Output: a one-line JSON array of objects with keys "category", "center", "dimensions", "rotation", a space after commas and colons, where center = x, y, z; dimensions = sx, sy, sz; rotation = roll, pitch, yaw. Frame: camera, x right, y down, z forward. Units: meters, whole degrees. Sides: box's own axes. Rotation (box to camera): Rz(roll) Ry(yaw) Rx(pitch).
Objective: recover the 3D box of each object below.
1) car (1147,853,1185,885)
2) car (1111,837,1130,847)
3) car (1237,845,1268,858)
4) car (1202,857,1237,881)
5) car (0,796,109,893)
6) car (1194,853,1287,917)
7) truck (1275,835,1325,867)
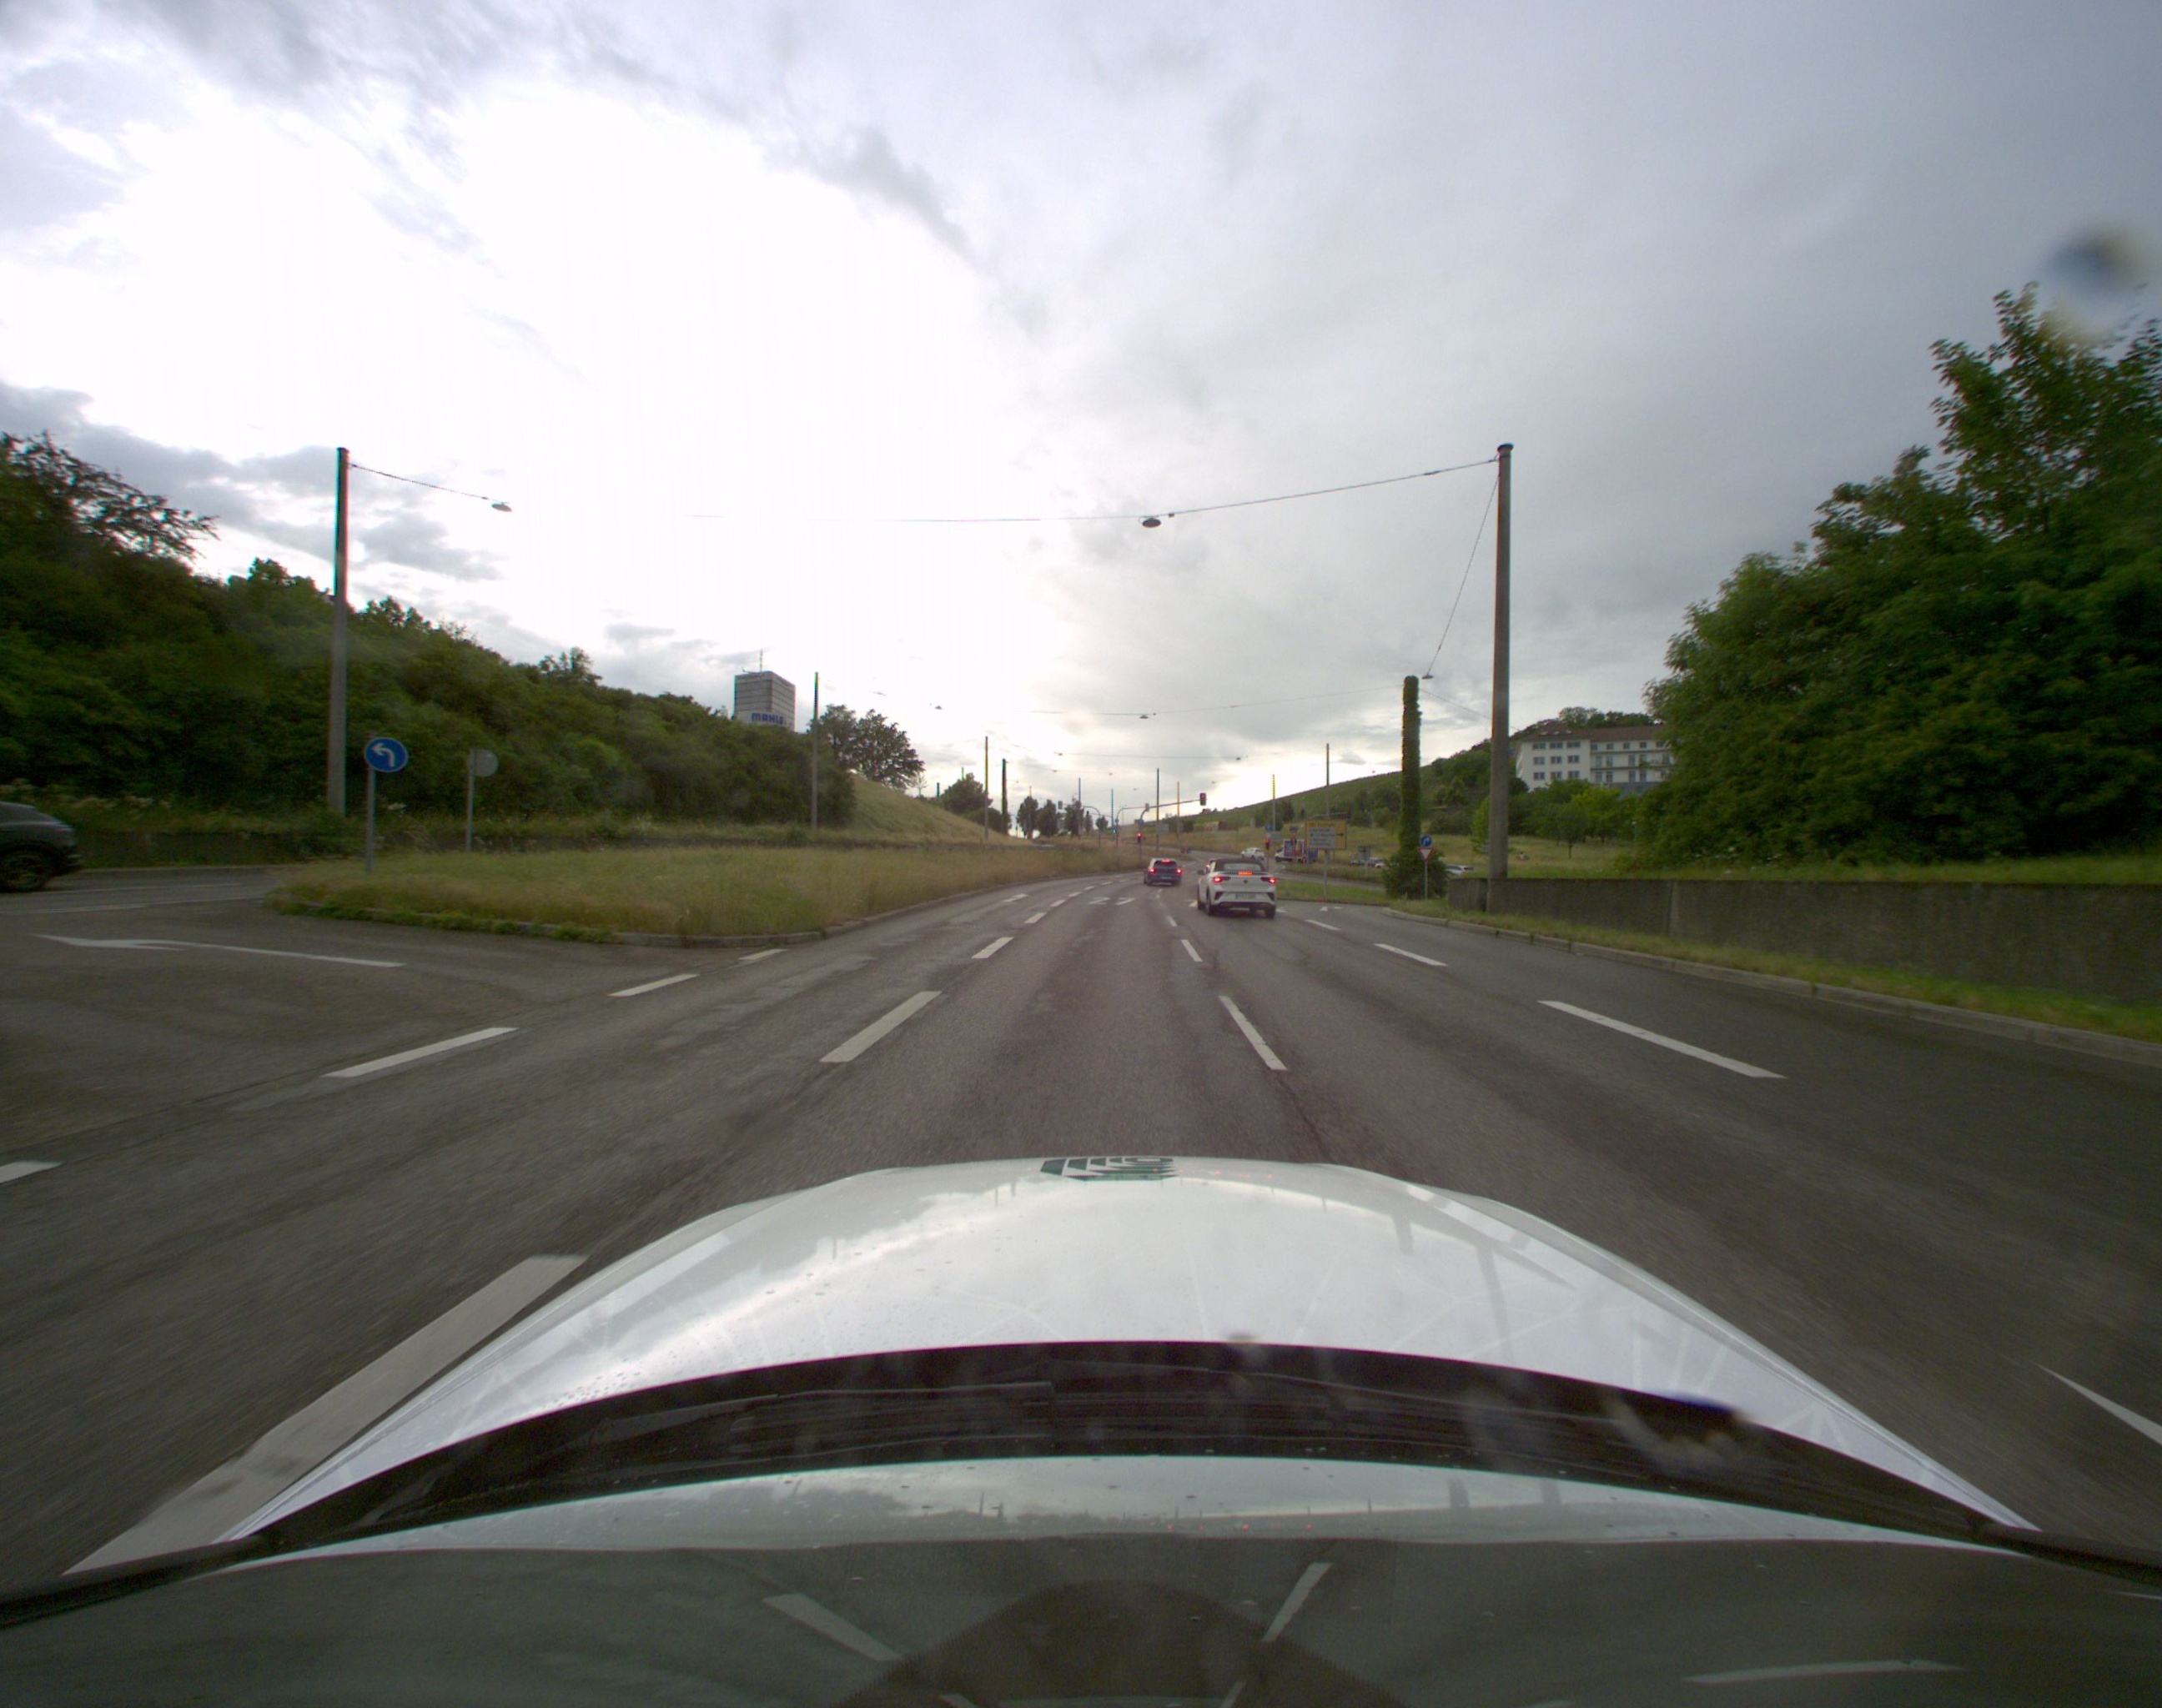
[{"category": "car", "center": [4.579, 0.812, 43.508], "dimensions": [1.916, 1.599, 4.069], "rotation": [1, -1, 7]}, {"category": "car", "center": [7.278, -2.254, 150.490], "dimensions": [2.001, 1.712, 4.531], "rotation": [-1, 1, -21]}, {"category": "car", "center": [22.793, -0.371, 108.415], "dimensions": [1.999, 1.500, 4.537], "rotation": [-1, 3, -18]}, {"category": "car", "center": [9.870, 1.046, 57.849], "dimensions": [1.760, 1.519, 3.742], "rotation": [3, 0, 18]}, {"category": "car", "center": [-19.287, -0.198, 12.850], "dimensions": [1.984, 1.637, 4.728], "rotation": [2, 0, 4]}, {"category": "car", "center": [4.348, 0.806, 22.809], "dimensions": [1.987, 1.578, 4.129], "rotation": [1, -1, 3]}, {"category": "truck", "center": [26.353, -0.422, 98.225], "dimensions": [2.857, 3.526, 6.195], "rotation": [-1, 3, -19]}]
